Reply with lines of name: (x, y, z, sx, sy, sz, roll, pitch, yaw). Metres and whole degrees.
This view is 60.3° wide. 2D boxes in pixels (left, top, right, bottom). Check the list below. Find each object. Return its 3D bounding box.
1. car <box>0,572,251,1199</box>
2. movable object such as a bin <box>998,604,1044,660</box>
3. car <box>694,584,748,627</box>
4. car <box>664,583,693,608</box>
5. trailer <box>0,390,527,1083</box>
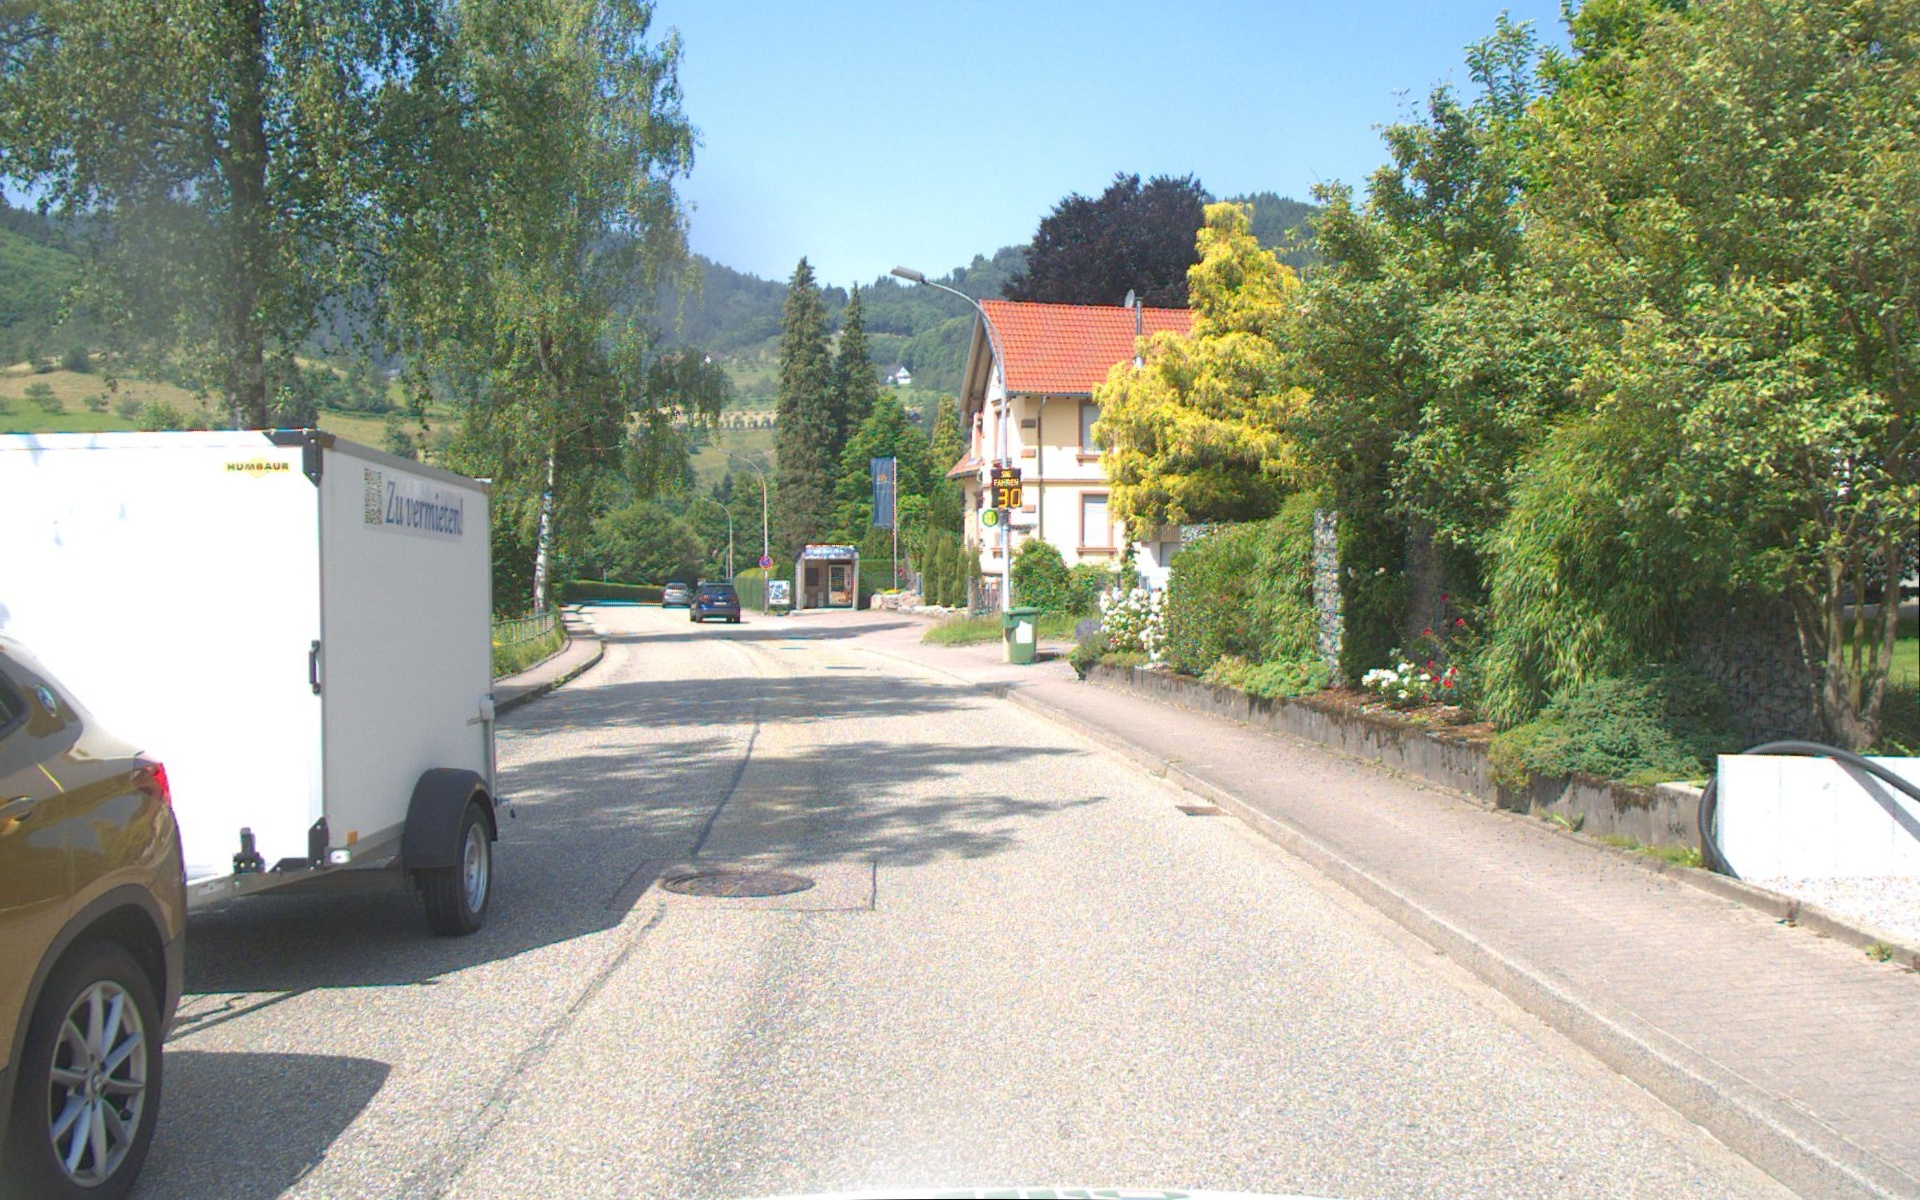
car: (-2.835, 0.730, 2.520, 1.777, 1.527, 4.148, -1, 0, -1)
movable object such as a bin: (1.181, 0.621, 32.132, 0.794, 1.060, 0.578, -1, 1, -9)
car: (-10.006, 0.210, 69.198, 1.887, 1.728, 3.775, -1, 0, -13)
car: (-17.028, -0.269, 100.037, 1.598, 1.447, 3.392, 0, 0, -8)
trailer: (-2.988, 0.411, 6.906, 1.437, 2.114, 3.669, -1, 0, -1)
